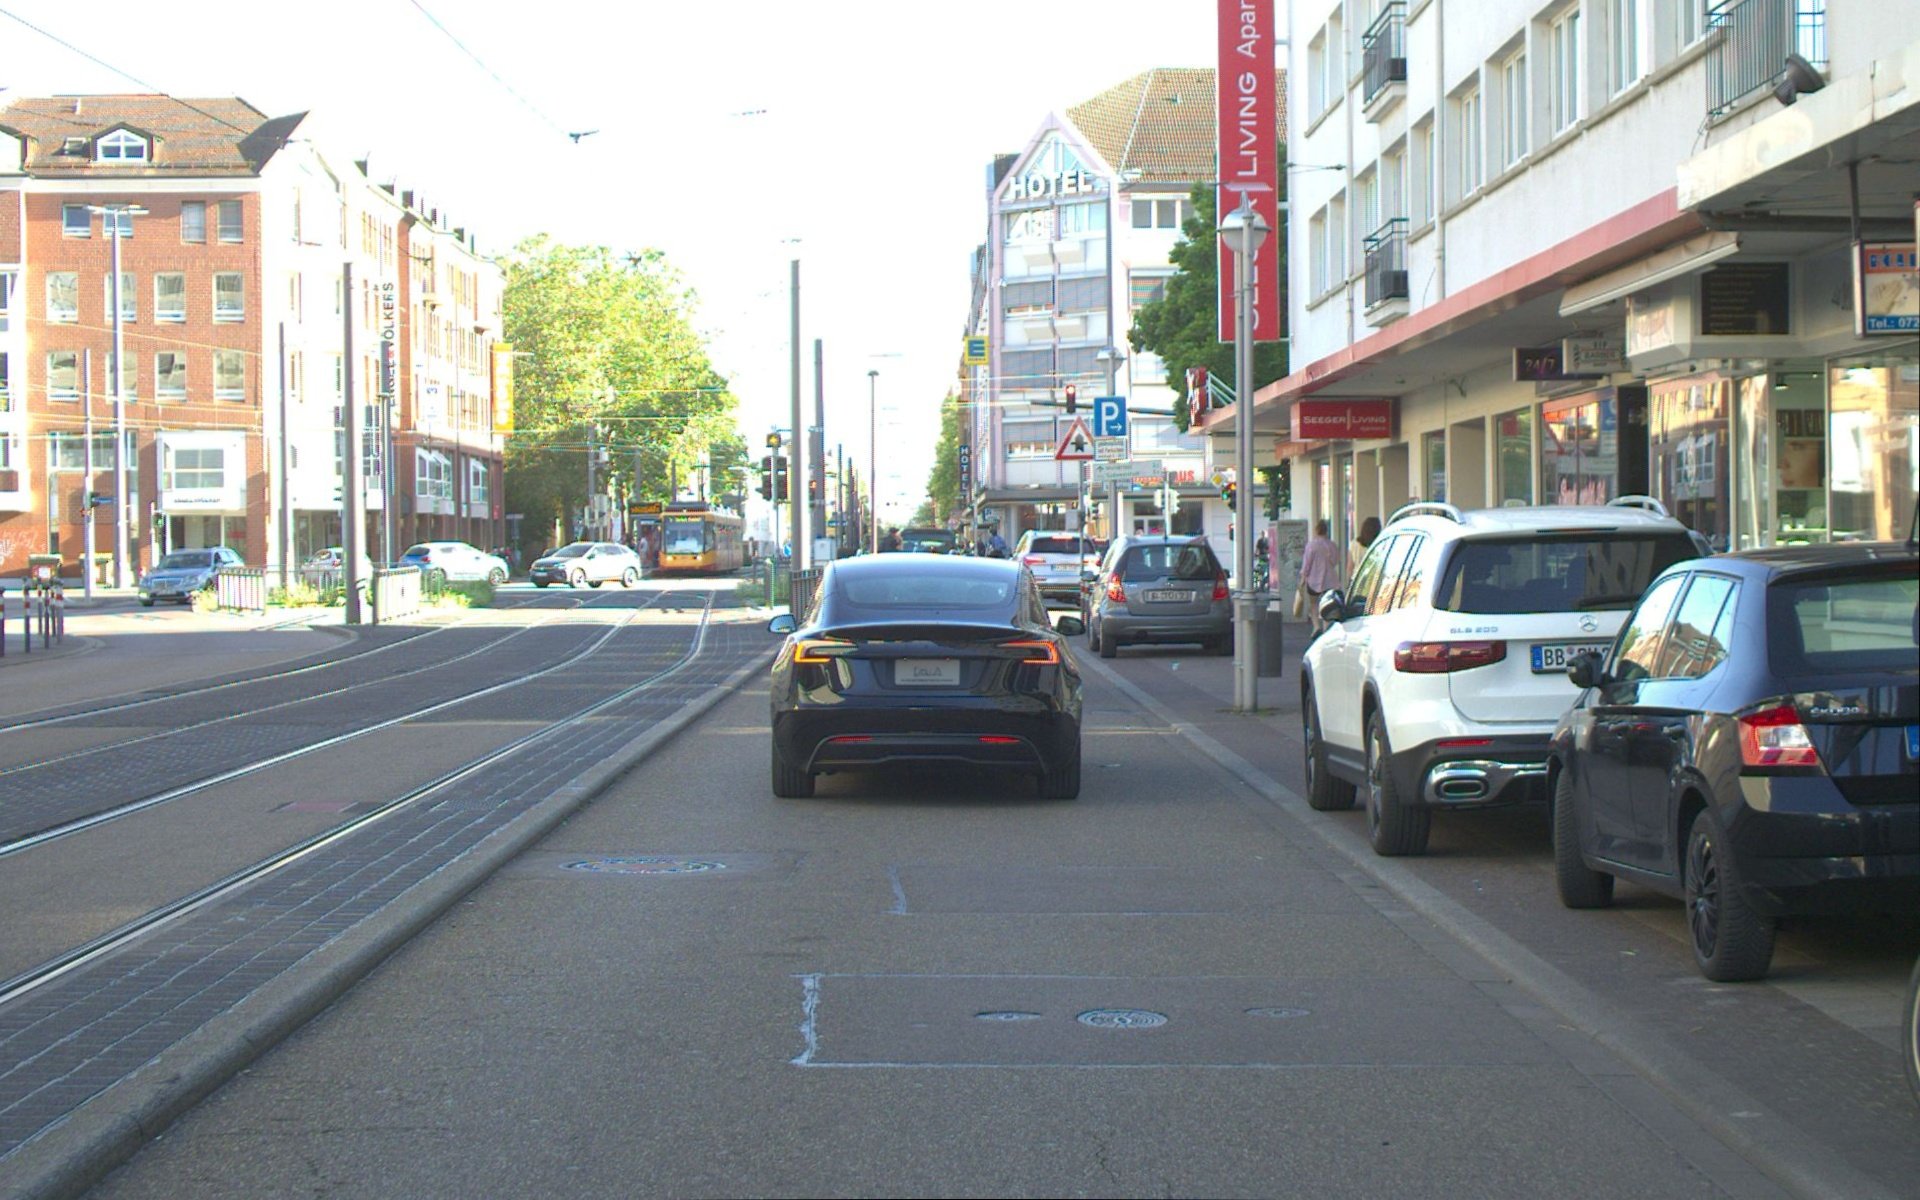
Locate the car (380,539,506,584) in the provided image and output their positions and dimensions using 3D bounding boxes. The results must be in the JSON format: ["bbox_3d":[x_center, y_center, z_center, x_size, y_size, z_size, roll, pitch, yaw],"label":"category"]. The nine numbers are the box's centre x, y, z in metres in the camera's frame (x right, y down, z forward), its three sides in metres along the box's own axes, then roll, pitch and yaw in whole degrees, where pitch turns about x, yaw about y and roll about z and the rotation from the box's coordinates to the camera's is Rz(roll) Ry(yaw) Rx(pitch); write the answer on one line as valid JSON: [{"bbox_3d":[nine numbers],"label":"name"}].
[{"bbox_3d":[-17.544,-1.290,116.773,1.997,1.415,3.992,2,1,34],"label":"car"}]

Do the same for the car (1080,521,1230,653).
[{"bbox_3d":[2.553,-0.210,45.679,1.745,1.626,3.649,-2,1,0],"label":"car"}]

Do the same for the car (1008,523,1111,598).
[{"bbox_3d":[2.085,-0.843,73.053,1.783,1.514,4.219,1,1,-3],"label":"car"}]

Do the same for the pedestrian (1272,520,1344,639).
[{"bbox_3d":[5.006,-0.300,49.411,0.818,1.677,0.714,2,1,23],"label":"pedestrian"}]

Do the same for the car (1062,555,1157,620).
[{"bbox_3d":[3.674,-0.319,85.162,1.824,1.514,3.650,1,1,-5],"label":"car"}]

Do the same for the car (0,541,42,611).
[{"bbox_3d":[-21.064,-0.541,73.114,1.903,1.459,4.000,2,1,1],"label":"car"}]

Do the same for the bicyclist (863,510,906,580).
[{"bbox_3d":[-1.633,-1.184,74.353,0.836,1.494,0.560,1,1,-8],"label":"bicyclist"}]

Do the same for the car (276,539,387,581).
[{"bbox_3d":[-23.347,-1.483,127.712,3.997,1.465,1.995,2,1,41],"label":"car"}]

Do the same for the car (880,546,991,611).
[{"bbox_3d":[-0.632,-0.554,84.649,1.824,1.514,4.219,1,1,-13],"label":"car"}]

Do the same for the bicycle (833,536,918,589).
[{"bbox_3d":[-1.827,-0.807,74.191,1.727,1.084,0.678,1,1,-8],"label":"bicycle"}]

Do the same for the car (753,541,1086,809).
[{"bbox_3d":[-0.278,0.400,21.212,1.849,1.479,3.787,1,1,-2],"label":"car"}]

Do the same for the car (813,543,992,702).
[{"bbox_3d":[-0.529,0.176,34.219,1.653,1.413,4.000,1,2,0],"label":"car"}]

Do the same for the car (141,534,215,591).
[{"bbox_3d":[-21.218,-1.024,93.233,1.880,1.490,4.932,-1,1,-13],"label":"car"}]

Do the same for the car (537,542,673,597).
[{"bbox_3d":[-11.651,-1.008,112.921,3.988,1.733,2.000,-1,1,-37],"label":"car"}]

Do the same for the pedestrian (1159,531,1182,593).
[{"bbox_3d":[5.703,-1.038,93.156,0.562,1.677,0.750,1,1,5],"label":"pedestrian"}]

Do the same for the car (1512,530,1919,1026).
[{"bbox_3d":[3.221,0.511,12.682,1.614,1.523,4.070,-1,1,-1],"label":"car"}]

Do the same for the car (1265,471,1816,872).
[{"bbox_3d":[2.818,0.286,17.907,1.849,1.718,5.193,-2,1,-1],"label":"car"}]

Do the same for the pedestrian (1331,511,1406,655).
[{"bbox_3d":[5.094,-0.218,42.806,0.804,1.768,0.932,-1,1,14],"label":"pedestrian"}]

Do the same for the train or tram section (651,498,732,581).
[{"bbox_3d":[-12.689,-2.836,163.423,2.674,3.703,14.193,1,1,0],"label":"train or tram section"}]
